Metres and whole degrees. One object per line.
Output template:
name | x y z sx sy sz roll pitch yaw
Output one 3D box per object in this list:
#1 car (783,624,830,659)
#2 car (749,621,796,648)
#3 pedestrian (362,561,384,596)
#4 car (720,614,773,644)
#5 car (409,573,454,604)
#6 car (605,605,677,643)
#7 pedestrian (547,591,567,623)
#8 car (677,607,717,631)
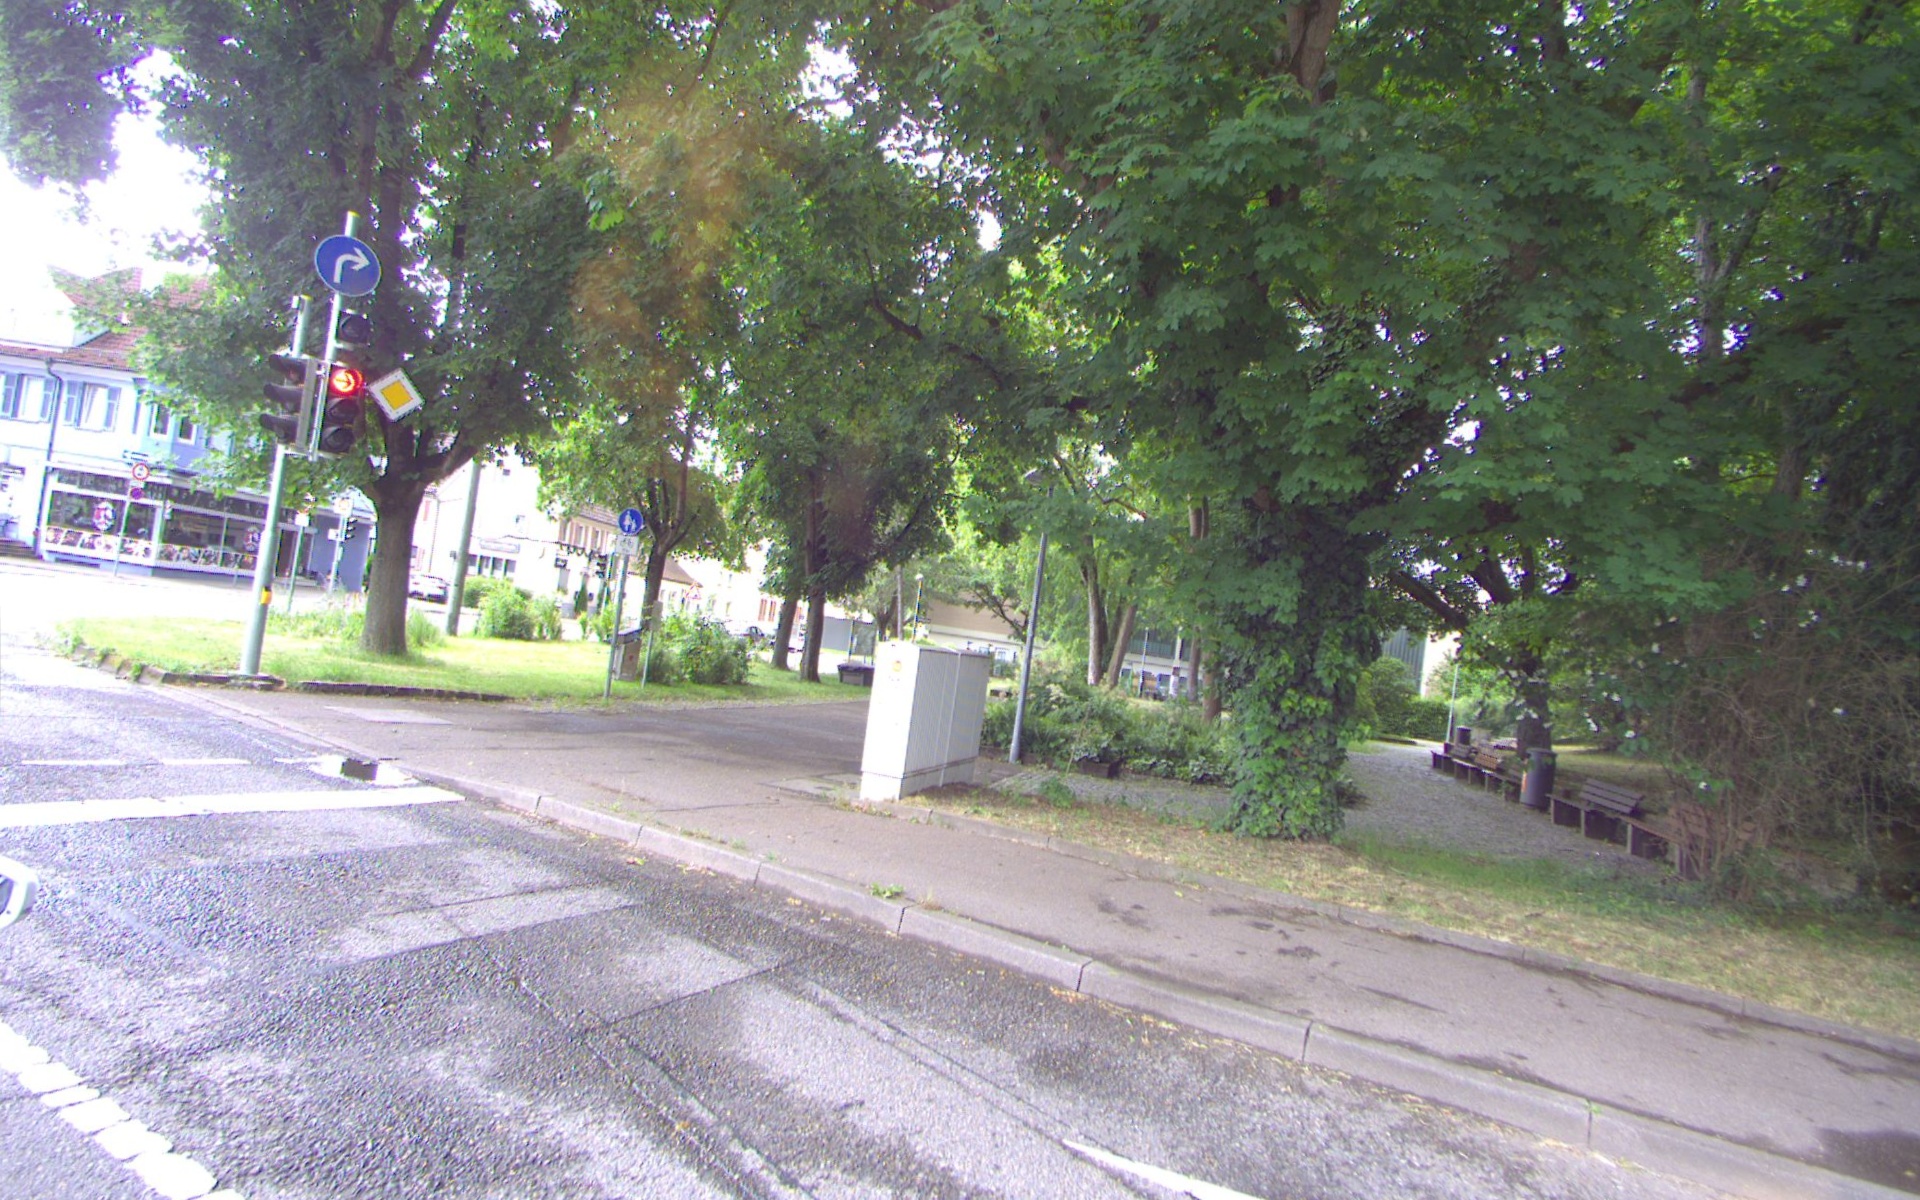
car | -10.055 2.761 66.175 1.750 2.037 4.005 7 -2 7
car | -11.166 2.073 60.106 1.530 1.336 3.514 7 -2 8
pedestrian | -27.309 -0.982 46.827 0.576 1.535 0.460 7 -1 12
car | -11.568 1.599 54.822 1.530 1.336 3.514 7 -2 9
car | -27.870 -0.601 53.146 1.479 1.384 3.166 8 -2 -19
car | -14.010 1.092 44.357 1.530 1.336 3.514 7 -2 9
pedestrian | -22.042 0.399 55.057 0.600 1.668 0.610 7 -1 3
car | -19.369 1.445 74.250 1.528 1.436 4.005 7 -2 4
